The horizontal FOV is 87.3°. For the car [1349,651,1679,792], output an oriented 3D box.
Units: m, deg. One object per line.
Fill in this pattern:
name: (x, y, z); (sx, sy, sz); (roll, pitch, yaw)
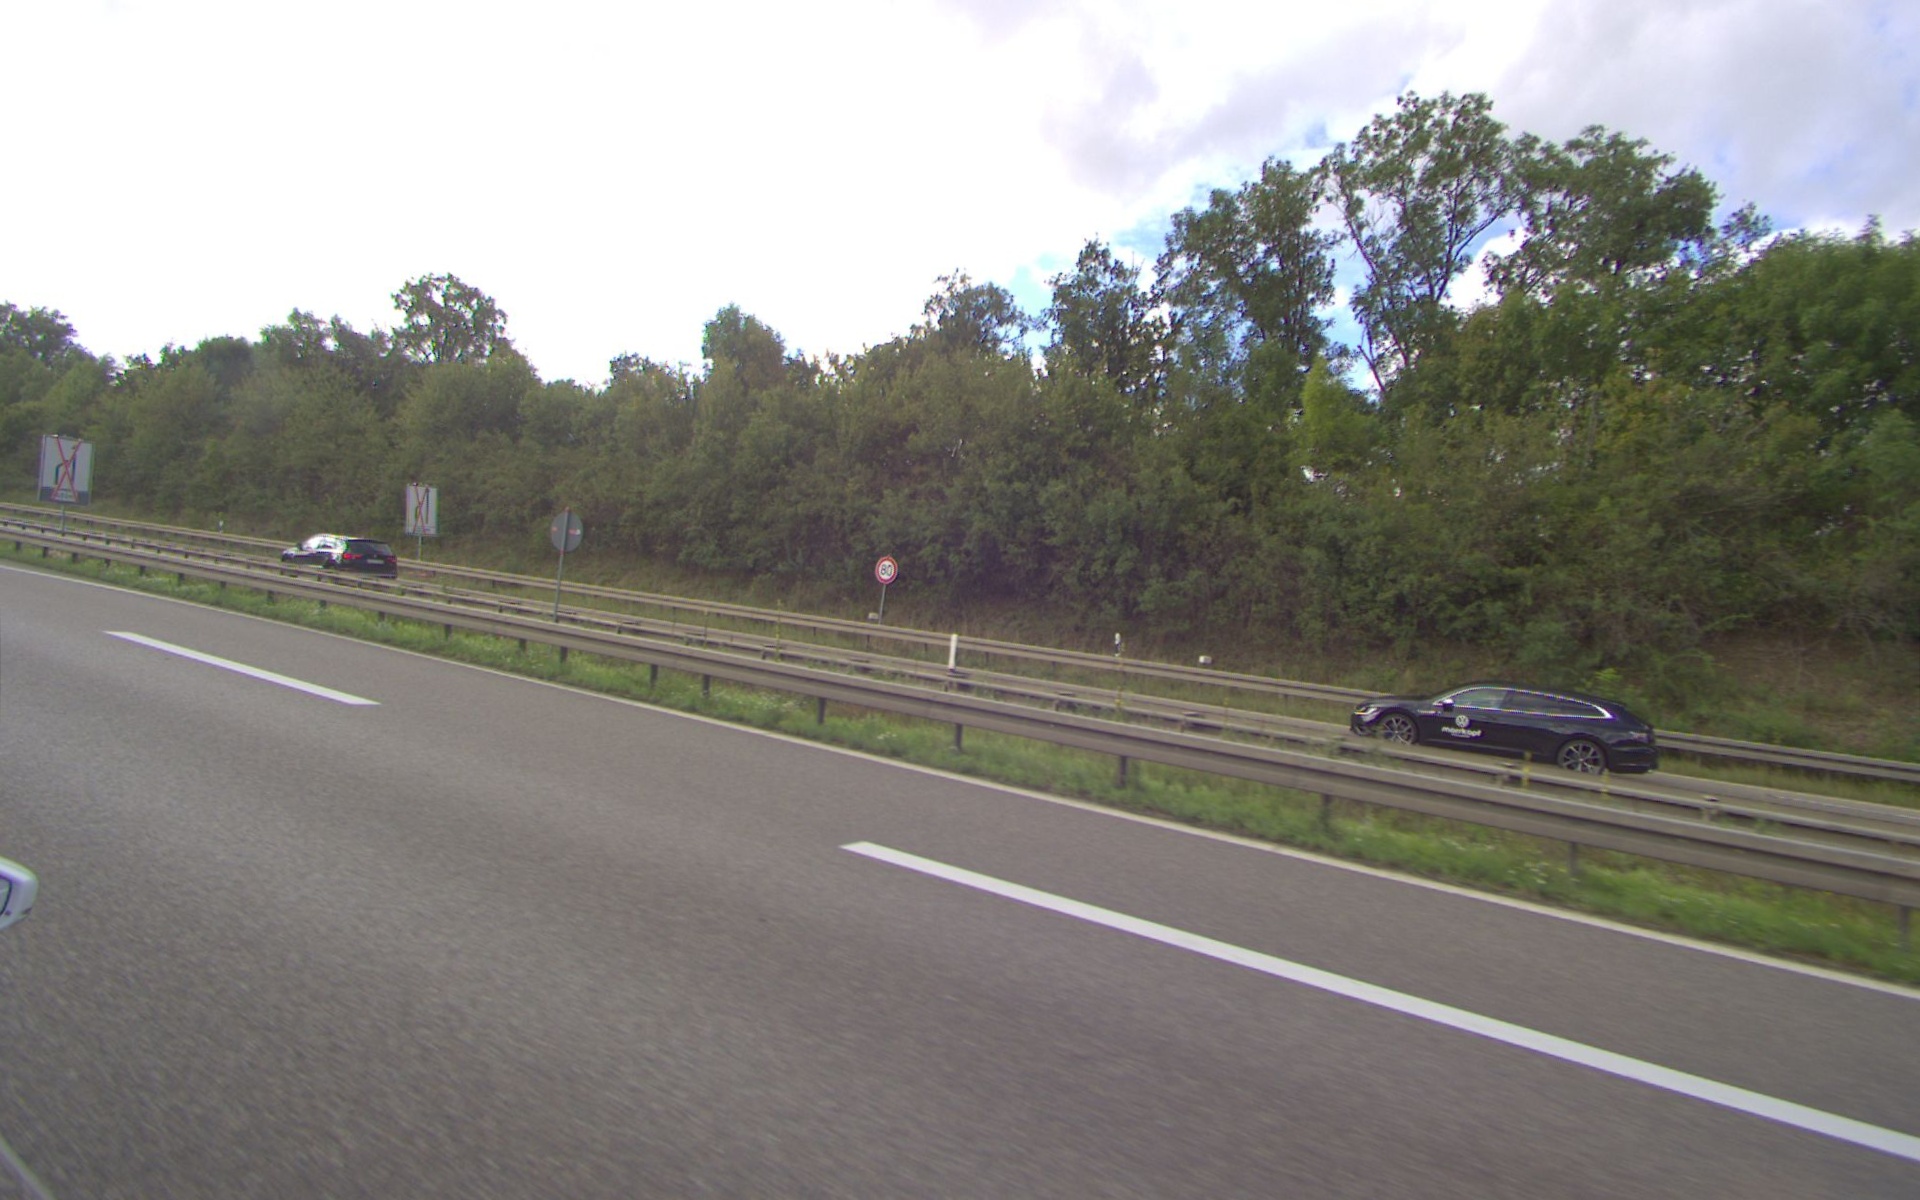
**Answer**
car: (9.525, 1.991, 17.631); (4.684, 1.623, 1.844); (7, 1, 31)

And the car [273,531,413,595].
car: (-19.259, -1.172, 31.366); (4.450, 1.504, 1.844); (7, 1, 31)
